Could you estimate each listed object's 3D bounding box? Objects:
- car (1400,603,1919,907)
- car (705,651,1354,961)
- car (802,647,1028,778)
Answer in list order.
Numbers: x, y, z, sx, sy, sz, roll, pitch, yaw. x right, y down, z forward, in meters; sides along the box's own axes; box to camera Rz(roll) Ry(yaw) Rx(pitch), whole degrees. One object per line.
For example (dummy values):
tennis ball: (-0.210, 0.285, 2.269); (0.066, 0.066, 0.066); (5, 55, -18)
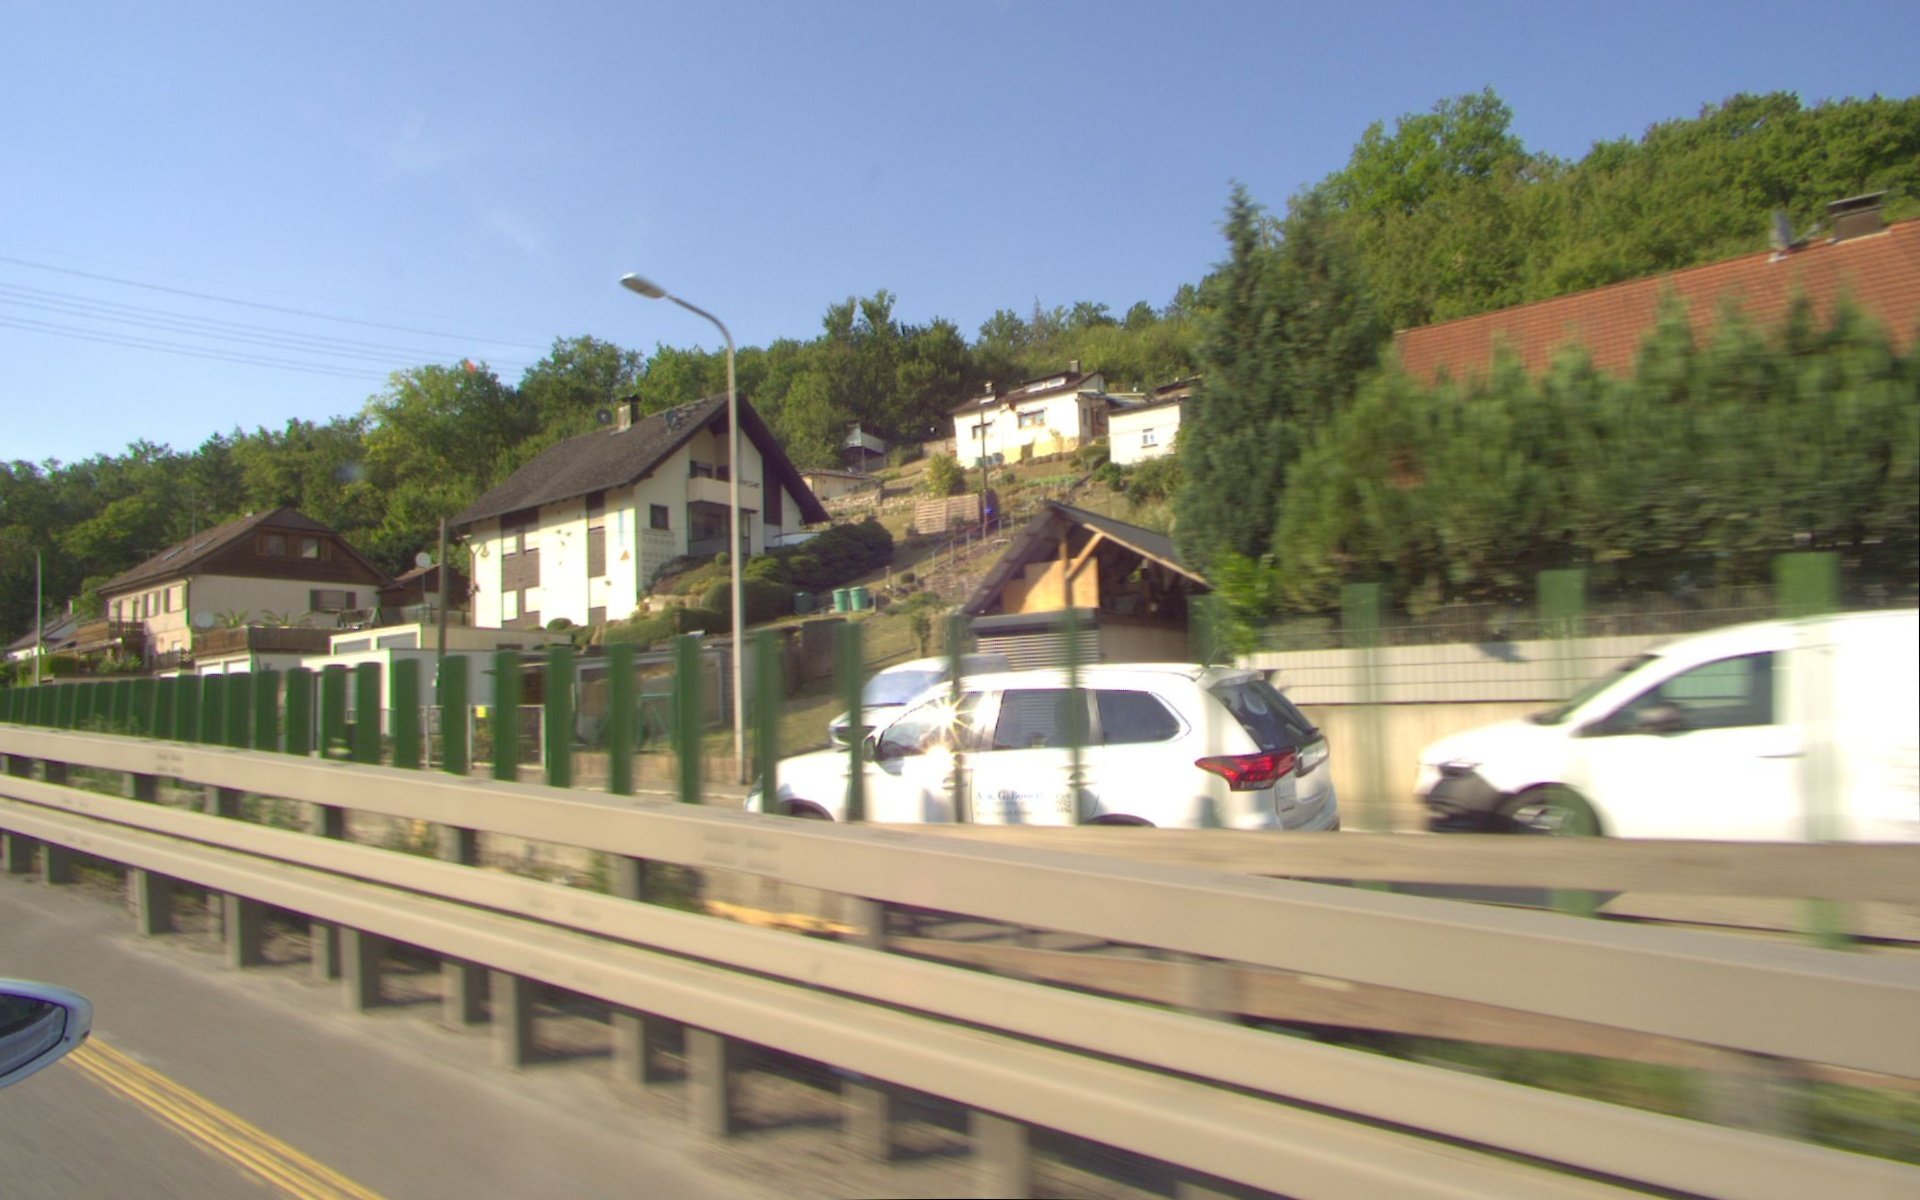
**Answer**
car: (5.807, 1.061, 7.453); (4.379, 1.893, 1.805); (-4, -5, 32)
car: (0.316, 1.300, 7.459); (4.587, 1.678, 1.694); (-4, -5, 34)
car: (-0.644, 1.852, 17.410); (1.826, 1.759, 4.121); (-4, -1, 32)
